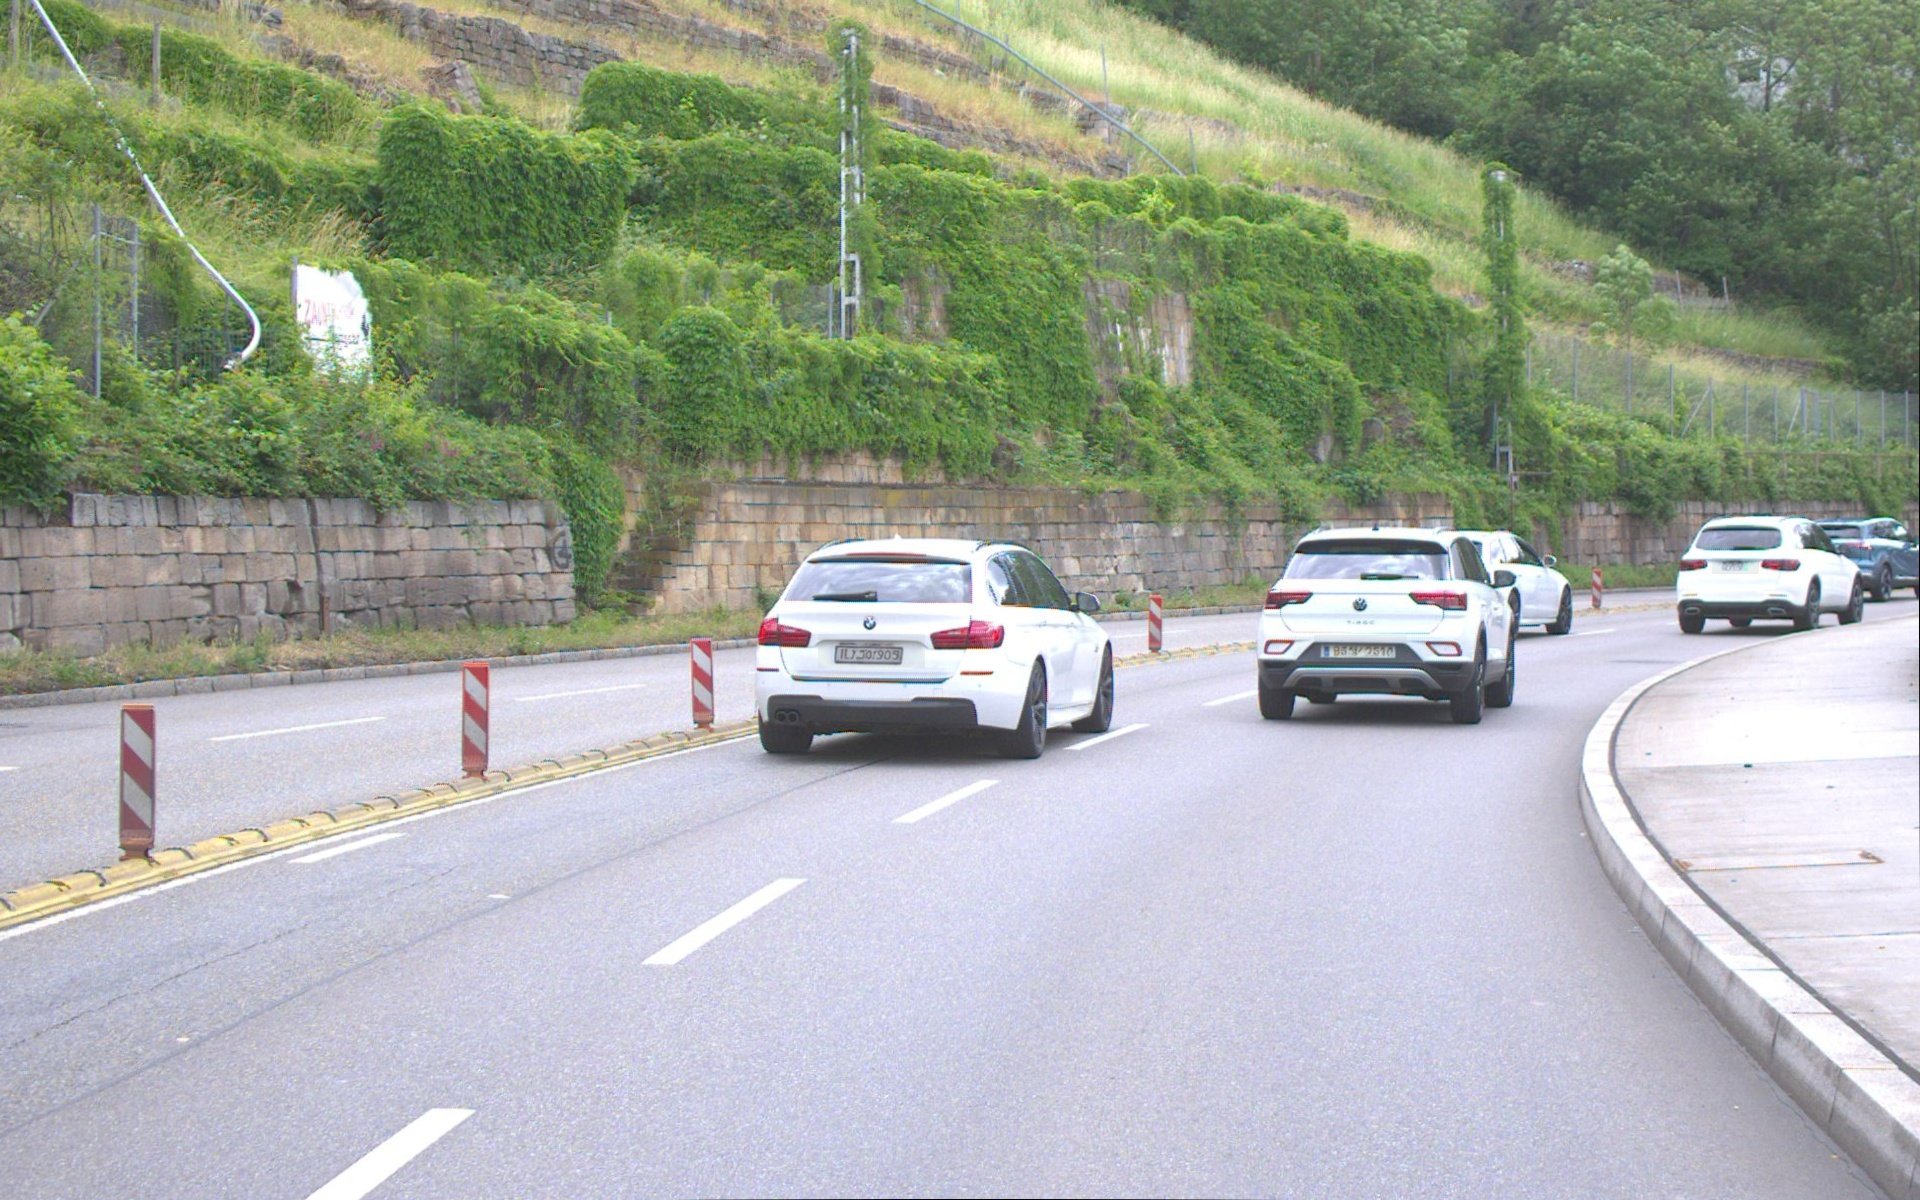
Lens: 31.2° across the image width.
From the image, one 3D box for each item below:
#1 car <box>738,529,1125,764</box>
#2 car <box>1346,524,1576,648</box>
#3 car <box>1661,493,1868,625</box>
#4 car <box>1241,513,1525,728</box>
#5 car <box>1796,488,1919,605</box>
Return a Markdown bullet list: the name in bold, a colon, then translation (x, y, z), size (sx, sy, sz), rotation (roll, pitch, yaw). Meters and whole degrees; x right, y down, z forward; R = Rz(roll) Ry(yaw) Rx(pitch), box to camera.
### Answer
- **car**: translation (-0.086, 0.268, 24.136), size (1.829, 1.454, 4.484), rotation (1, 1, 11)
- **car**: translation (6.819, -0.222, 46.399), size (1.996, 1.498, 4.662), rotation (-2, 1, 22)
- **car**: translation (11.493, -0.577, 48.911), size (1.996, 1.712, 4.108), rotation (-3, 0, 25)
- **car**: translation (3.588, 0.105, 28.595), size (1.829, 1.600, 3.998), rotation (2, 2, 14)
- **car**: translation (17.047, -0.993, 64.065), size (1.996, 2.007, 3.995), rotation (-3, 0, 25)
